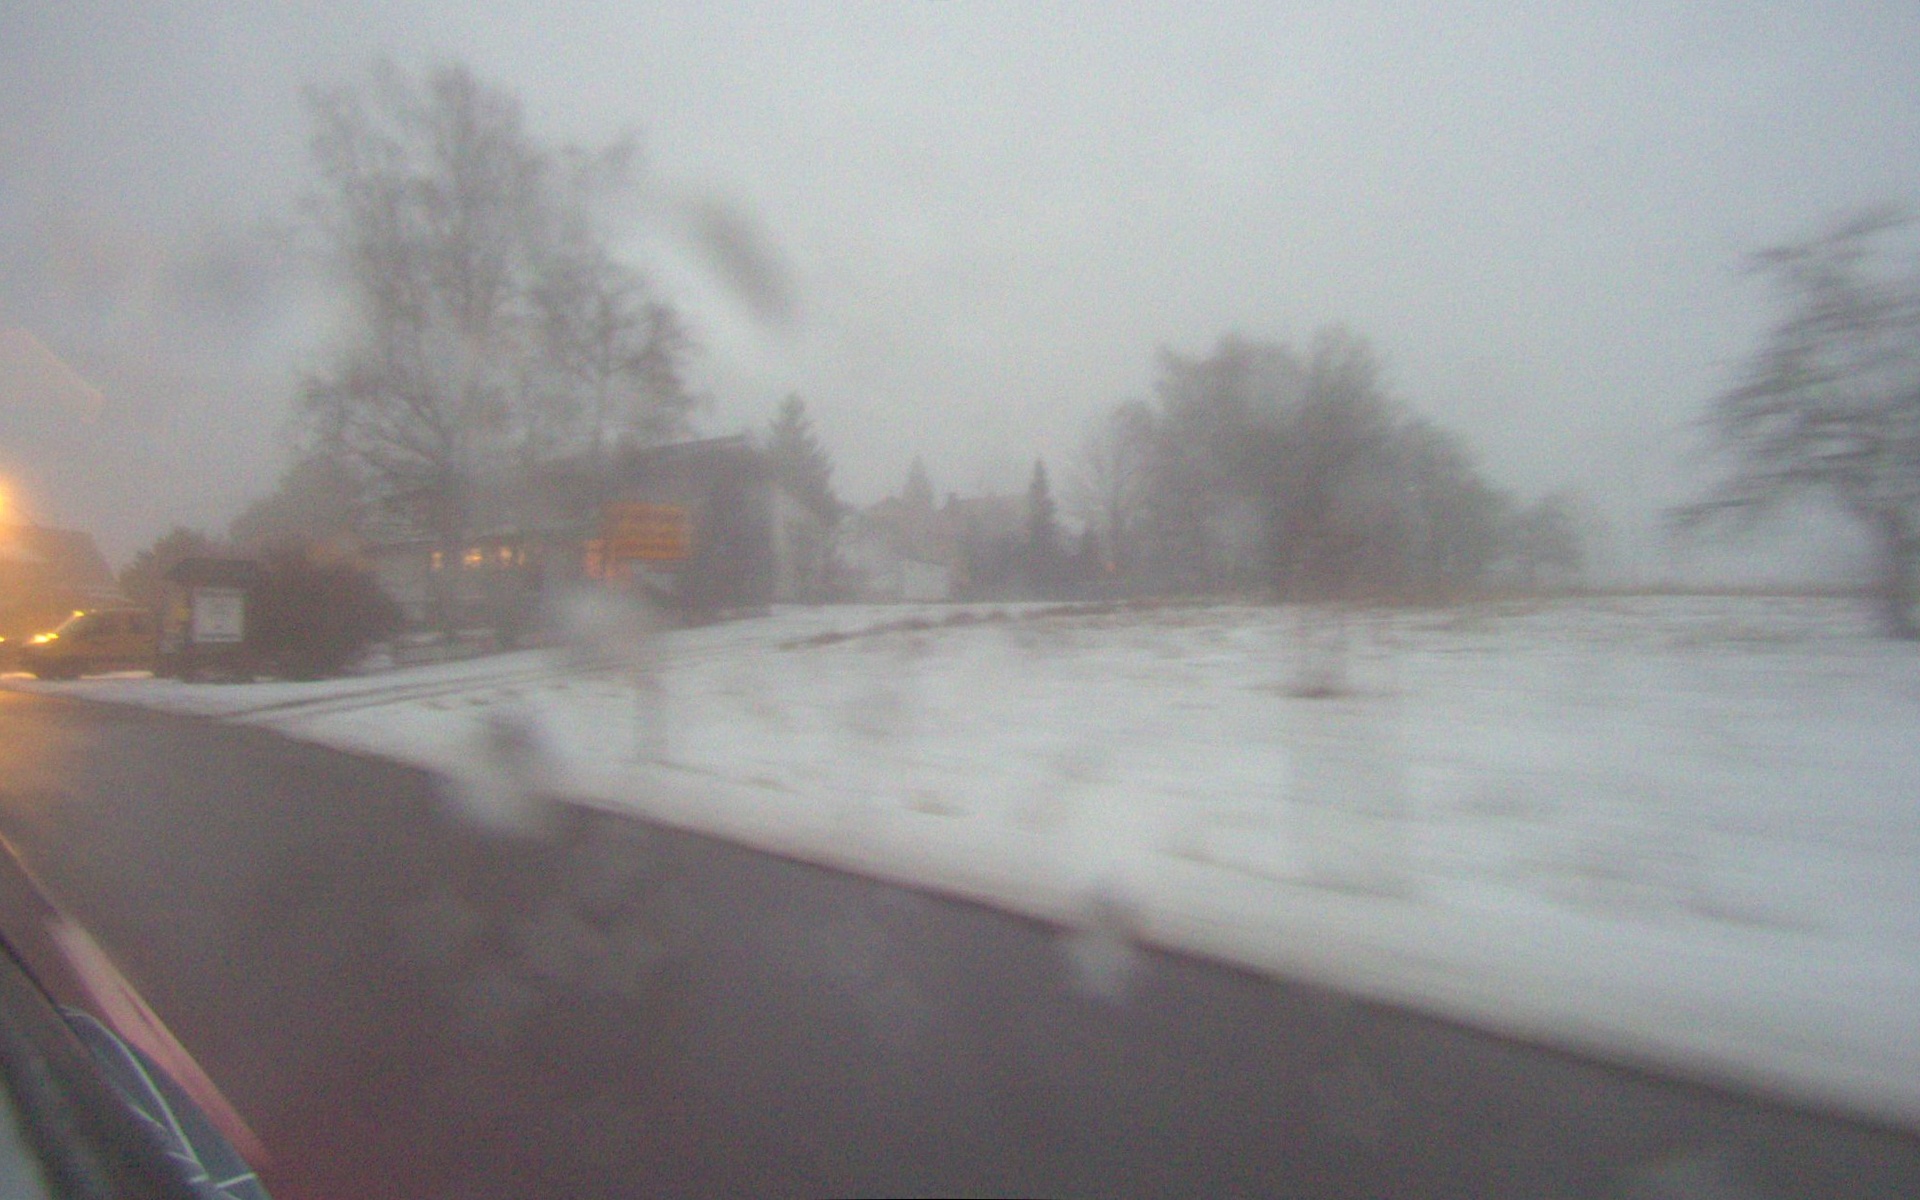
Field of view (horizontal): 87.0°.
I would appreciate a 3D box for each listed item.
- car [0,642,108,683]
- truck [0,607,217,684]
[{"bbox_3d":[-36.110,2.429,38.779,2.113,1.496,4.856,-3,-5,28],"label":"car"},{"bbox_3d":[-27.986,1.585,33.365,1.990,2.321,5.228,-3,-5,27],"label":"truck"}]
